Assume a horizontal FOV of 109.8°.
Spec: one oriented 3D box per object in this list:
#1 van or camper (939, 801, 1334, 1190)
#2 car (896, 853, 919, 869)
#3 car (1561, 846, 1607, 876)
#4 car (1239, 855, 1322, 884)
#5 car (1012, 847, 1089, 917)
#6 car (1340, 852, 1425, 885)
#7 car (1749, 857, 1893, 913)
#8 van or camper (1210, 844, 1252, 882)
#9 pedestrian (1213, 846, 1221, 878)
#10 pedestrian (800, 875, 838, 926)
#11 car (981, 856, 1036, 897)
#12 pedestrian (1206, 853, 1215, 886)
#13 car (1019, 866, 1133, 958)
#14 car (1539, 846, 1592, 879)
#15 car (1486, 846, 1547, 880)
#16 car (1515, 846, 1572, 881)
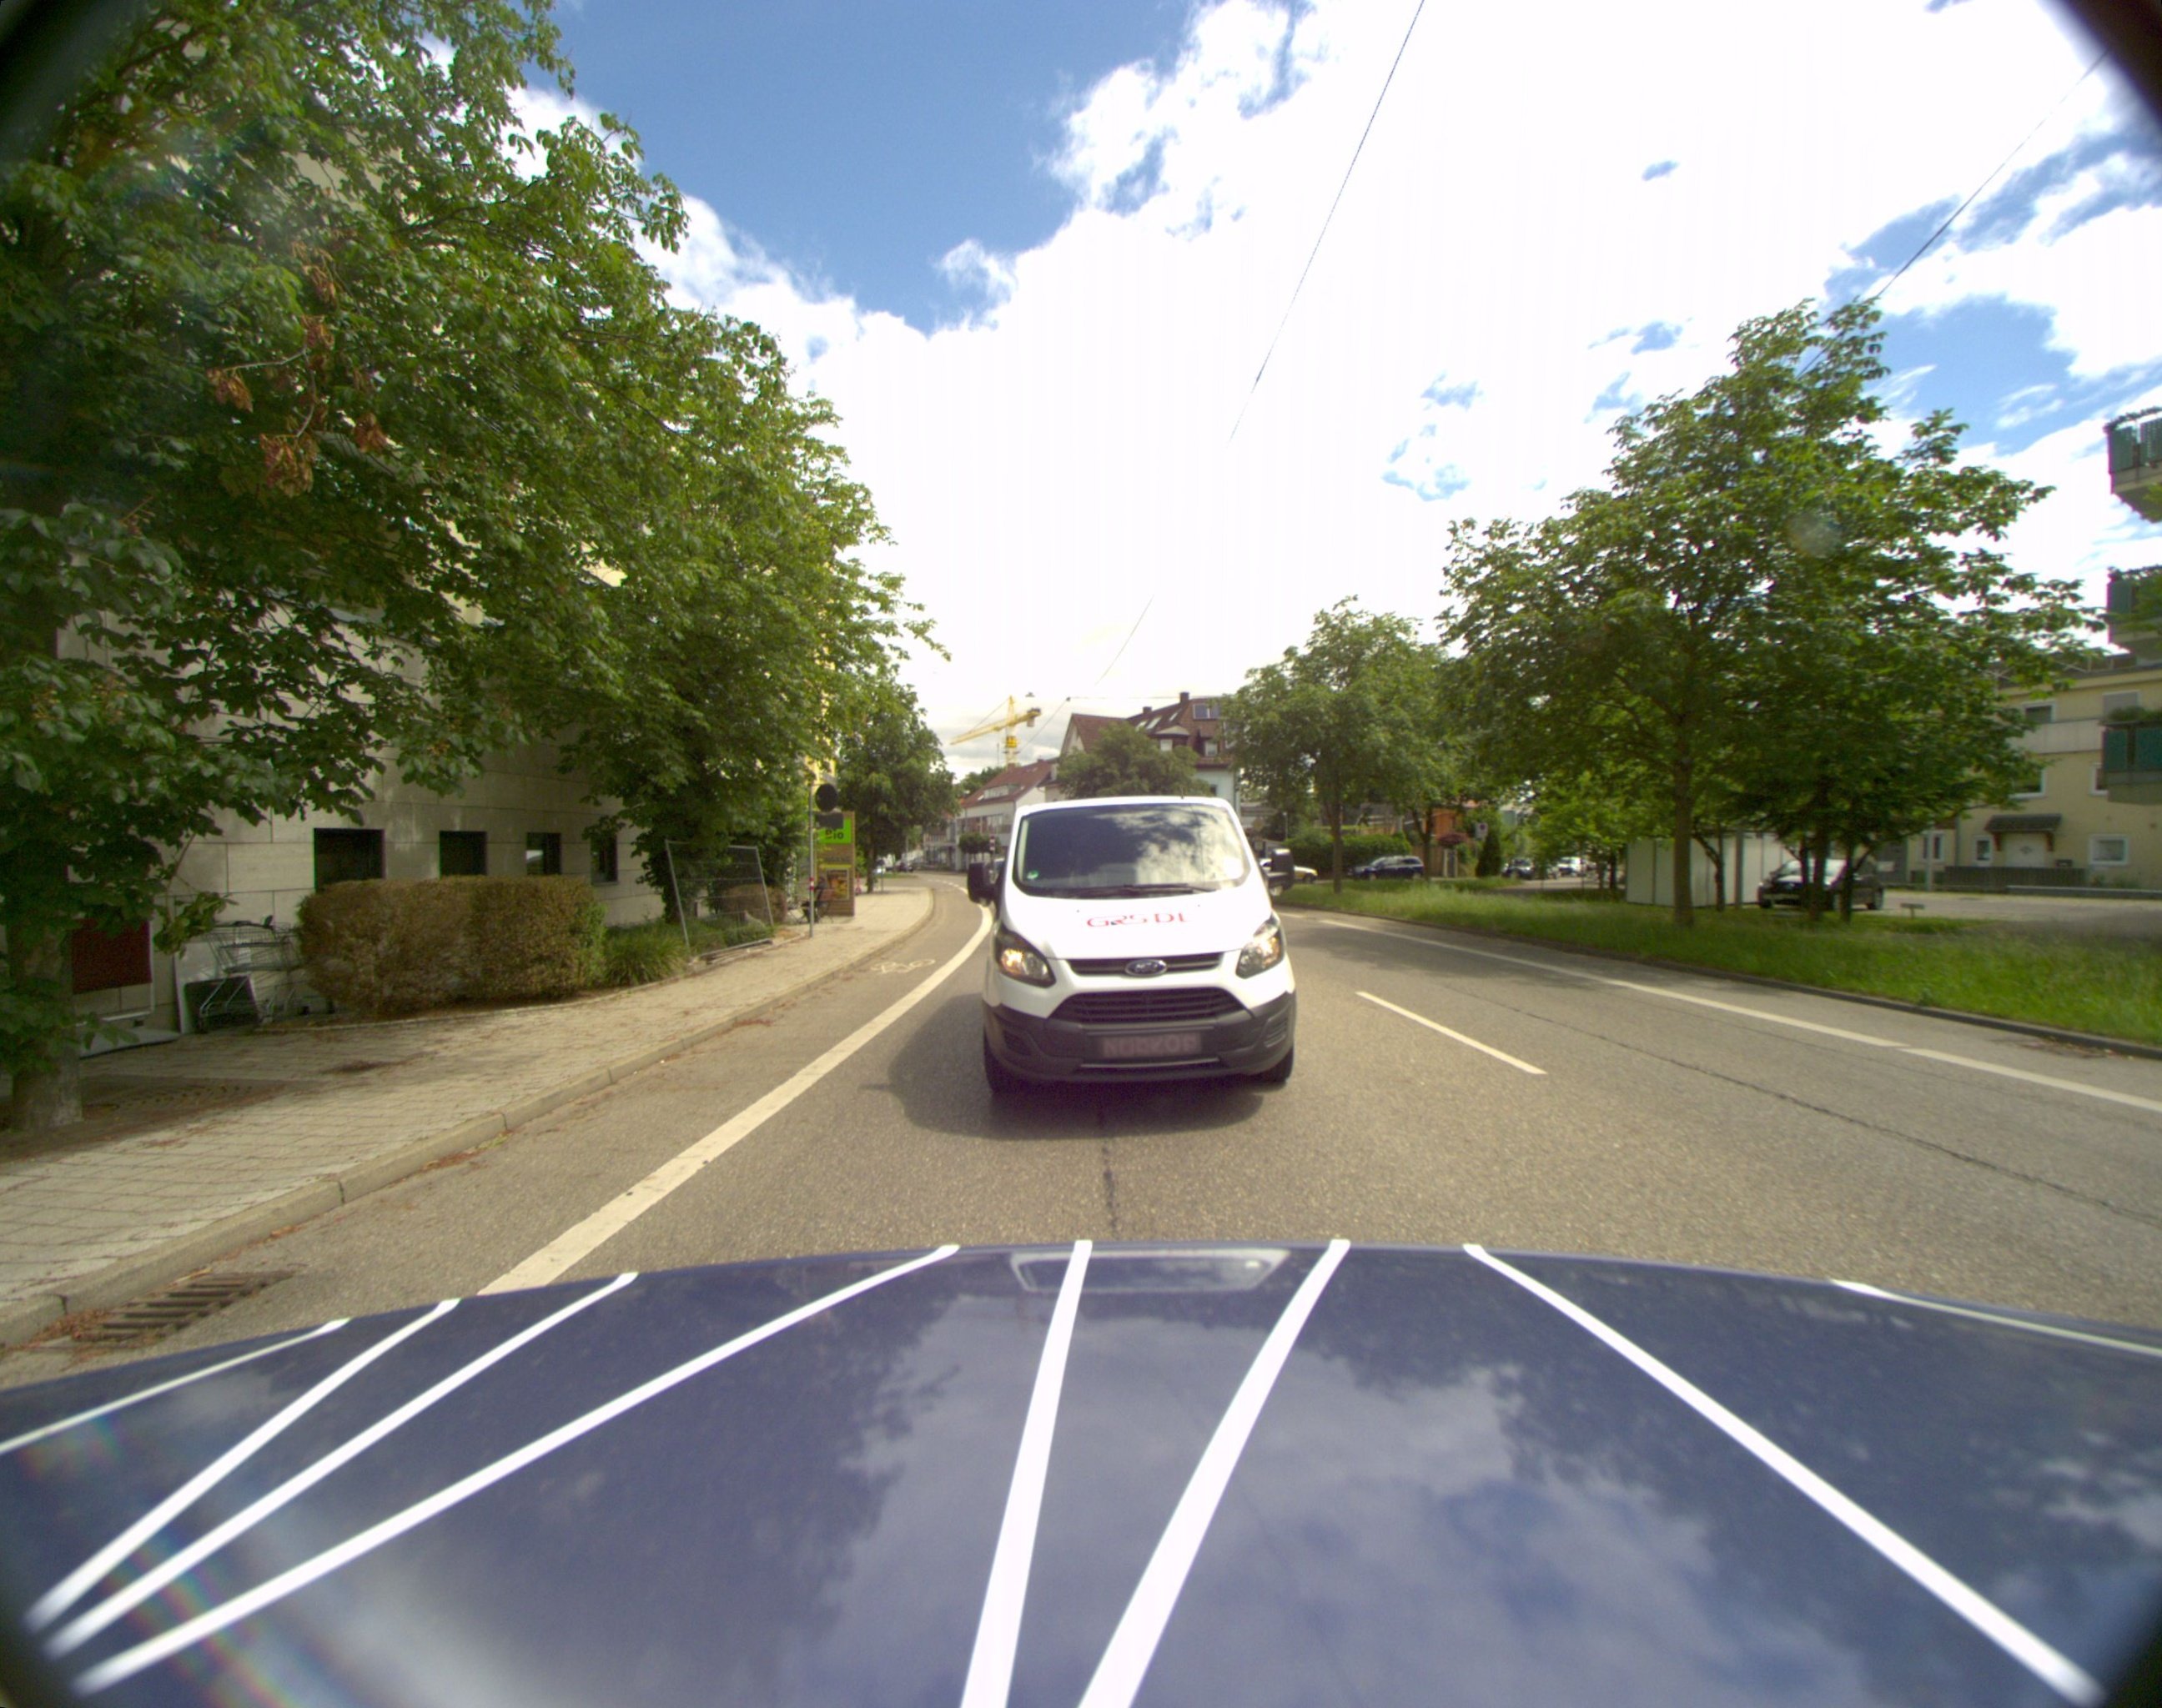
[{"bbox_3d":[0.298,0.725,6.475,2.027,2.002,5.102,0,0,0],"label":"van or camper"},{"bbox_3d":[-20.671,0.778,90.356,1.744,1.840,3.991,-1,0,-26],"label":"car"},{"bbox_3d":[36.742,0.498,55.475,4.007,2.002,1.893,-4,2,-43],"label":"car"},{"bbox_3d":[10.801,0.833,41.115,4.046,1.314,1.534,-3,1,-13],"label":"car"},{"bbox_3d":[-1.003,0.742,22.583,1.853,1.805,3.997,-3,1,-7],"label":"car"},{"bbox_3d":[16.336,0.751,41.274,3.976,1.672,1.717,-1,1,-3],"label":"car"},{"bbox_3d":[20.816,0.857,21.355,4.007,1.412,1.789,2,0,-29],"label":"car"},{"bbox_3d":[8.873,0.488,45.257,1.794,2.077,3.811,-3,1,2],"label":"van or camper"},{"bbox_3d":[8.498,0.510,47.440,0.383,1.979,0.443,-3,2,0],"label":"pedestrian"},{"bbox_3d":[-6.856,1.206,19.916,0.731,1.293,0.754,0,1,0],"label":"pedestrian"},{"bbox_3d":[-3.036,0.871,31.300,1.695,1.477,3.995,-3,1,-13],"label":"car"},{"bbox_3d":[8.064,0.956,47.476,0.425,2.002,0.363,-3,2,1],"label":"pedestrian"},{"bbox_3d":[-0.243,0.964,14.277,1.841,1.382,3.998,0,0,-5],"label":"car"},{"bbox_3d":[33.273,0.590,52.144,4.007,2.002,1.994,-4,2,-41],"label":"car"},{"bbox_3d":[26.728,0.509,46.614,4.008,2.002,1.976,-1,0,-41],"label":"car"},{"bbox_3d":[29.990,0.611,49.214,4.007,2.002,1.995,-4,2,-41],"label":"car"}]
